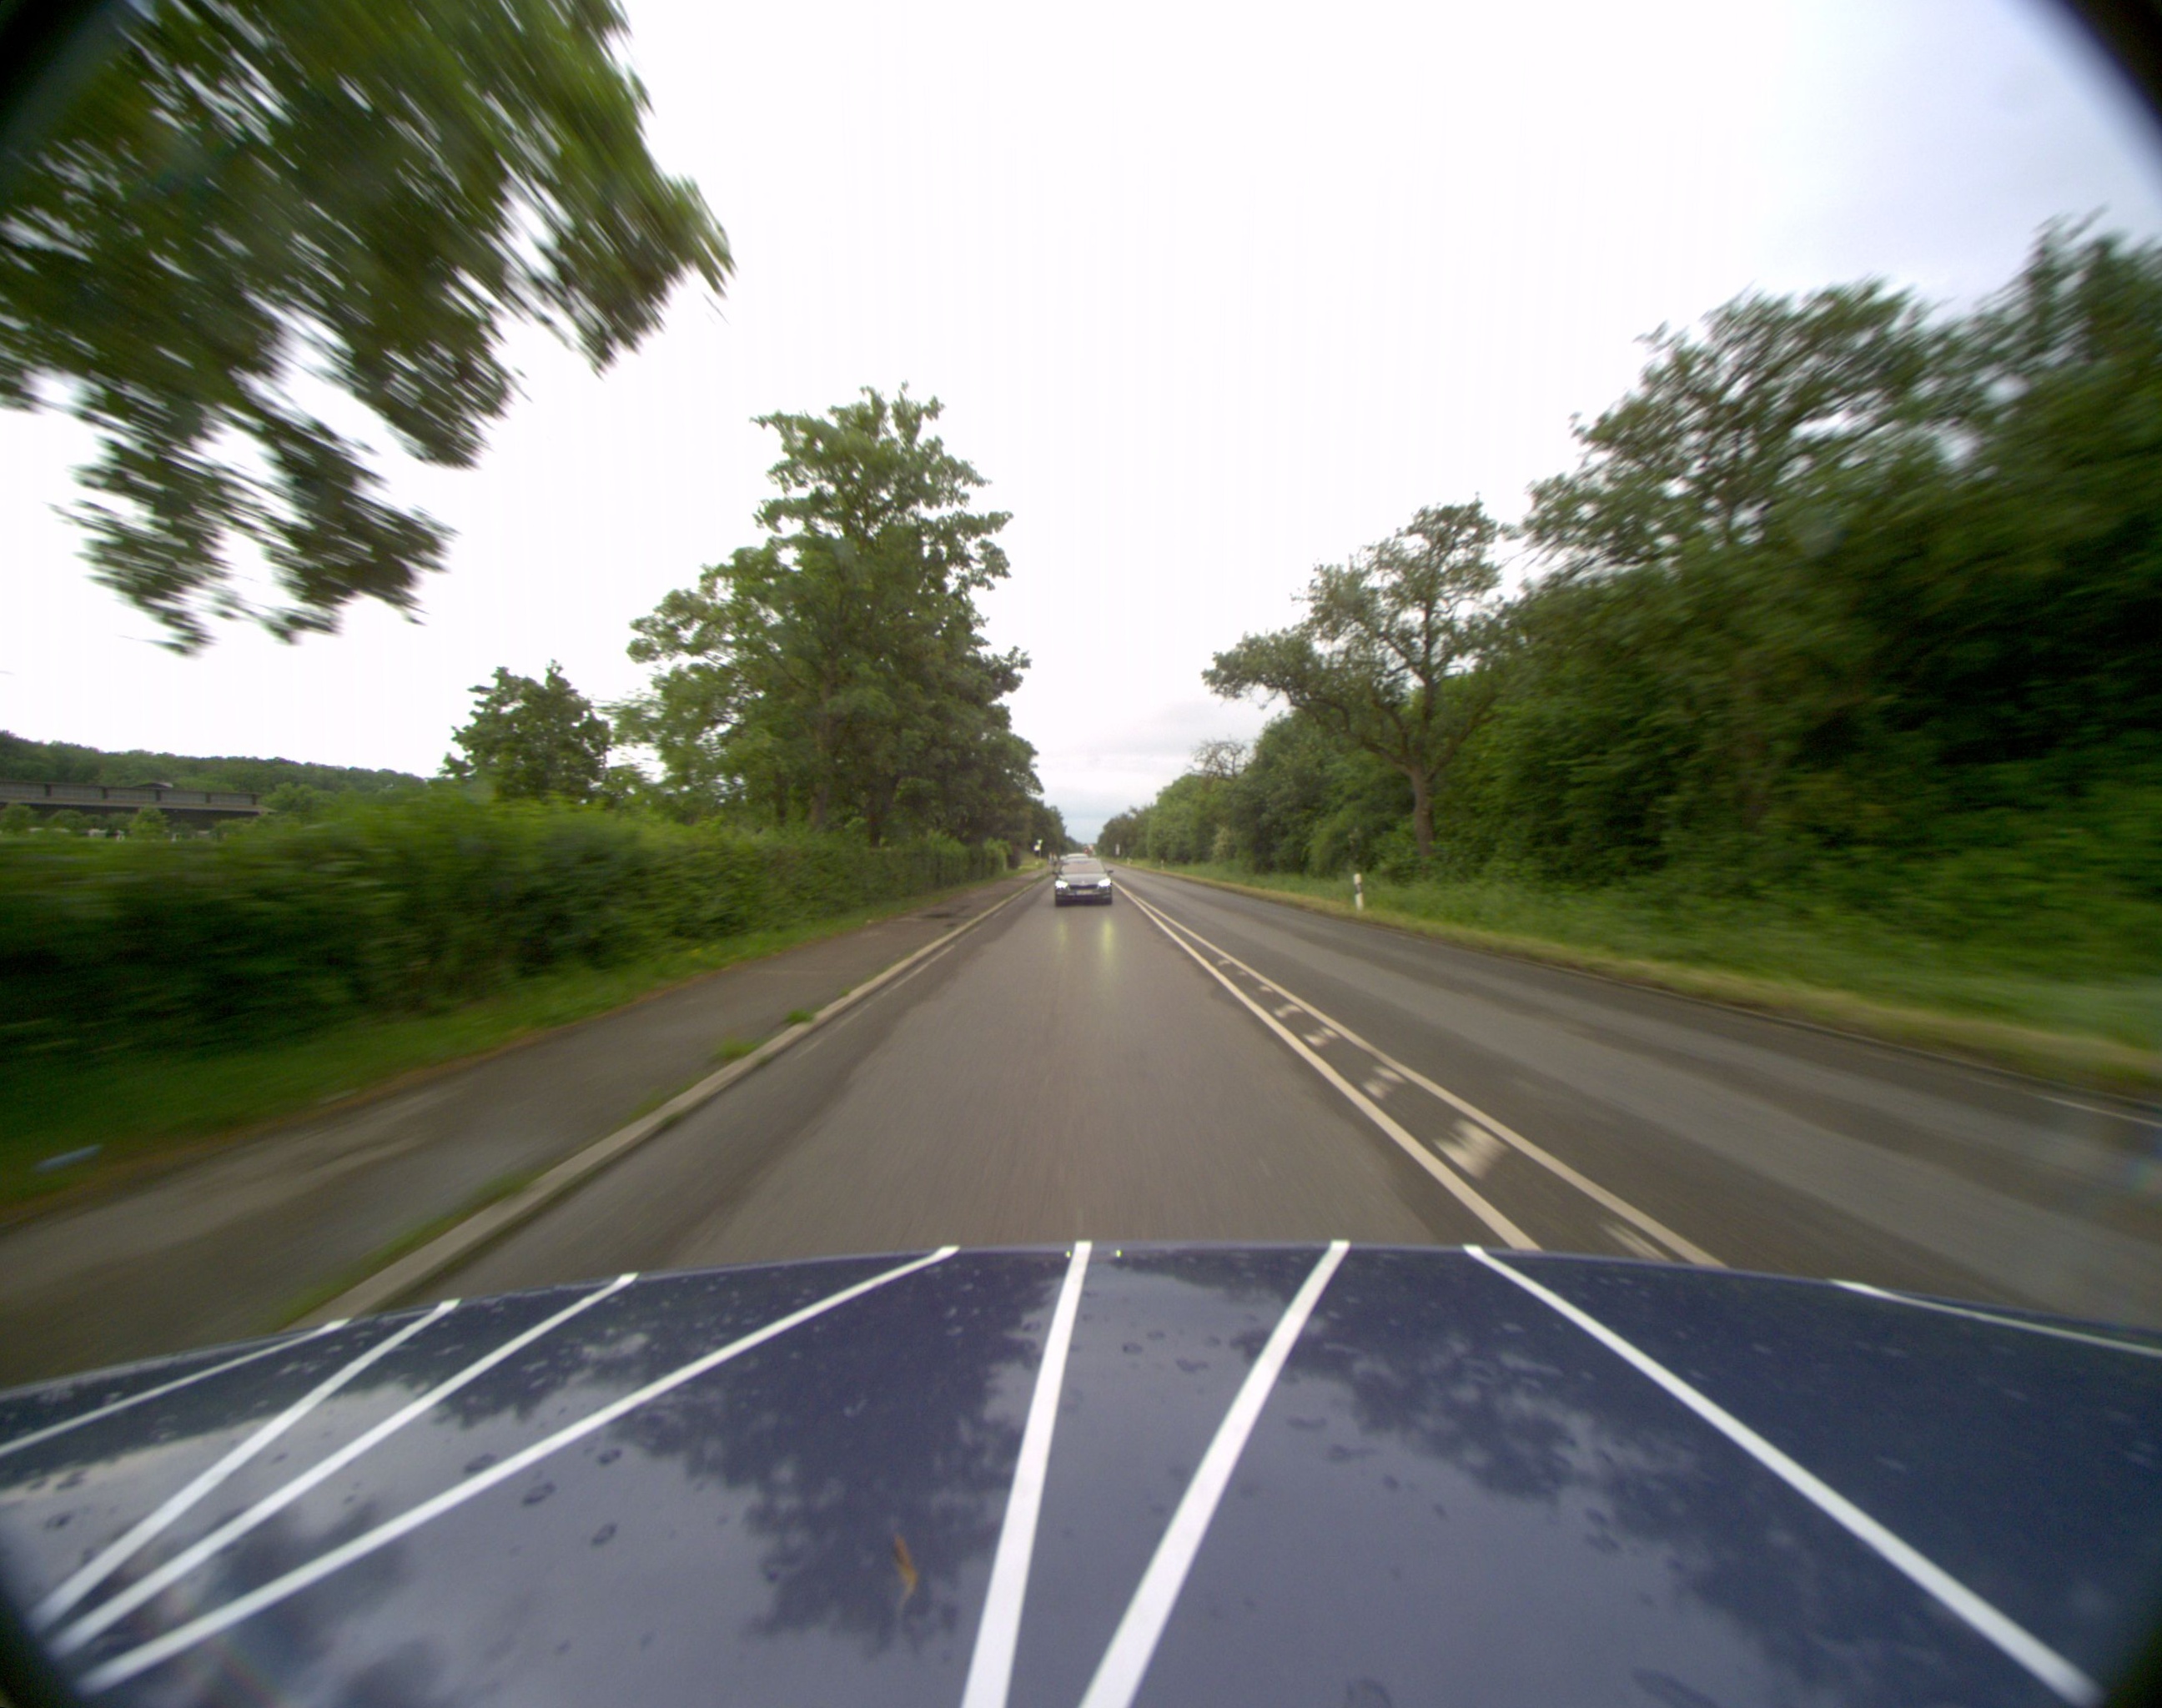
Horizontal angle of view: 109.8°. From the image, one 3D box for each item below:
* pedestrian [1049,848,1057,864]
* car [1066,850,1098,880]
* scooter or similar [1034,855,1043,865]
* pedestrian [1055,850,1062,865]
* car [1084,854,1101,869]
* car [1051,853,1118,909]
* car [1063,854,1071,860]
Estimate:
[{"bbox_3d":[-3.347,0.220,90.321,0.696,1.817,0.800,0,1,-17],"label":"pedestrian"},{"bbox_3d":[0.068,0.658,48.326,1.915,1.691,3.913,-3,1,0],"label":"car"},{"bbox_3d":[-5.671,0.797,100.820,1.324,1.199,0.375,0,1,41],"label":"scooter or similar"},{"bbox_3d":[-2.652,0.429,91.293,0.663,1.768,0.759,0,1,-17],"label":"pedestrian"},{"bbox_3d":[1.312,0.881,89.796,1.887,1.543,3.475,-3,1,0],"label":"car"},{"bbox_3d":[0.097,0.799,24.809,1.915,1.543,4.354,-3,1,0],"label":"car"},{"bbox_3d":[-3.537,0.643,189.977,1.749,1.460,4.220,0,1,0],"label":"car"}]
